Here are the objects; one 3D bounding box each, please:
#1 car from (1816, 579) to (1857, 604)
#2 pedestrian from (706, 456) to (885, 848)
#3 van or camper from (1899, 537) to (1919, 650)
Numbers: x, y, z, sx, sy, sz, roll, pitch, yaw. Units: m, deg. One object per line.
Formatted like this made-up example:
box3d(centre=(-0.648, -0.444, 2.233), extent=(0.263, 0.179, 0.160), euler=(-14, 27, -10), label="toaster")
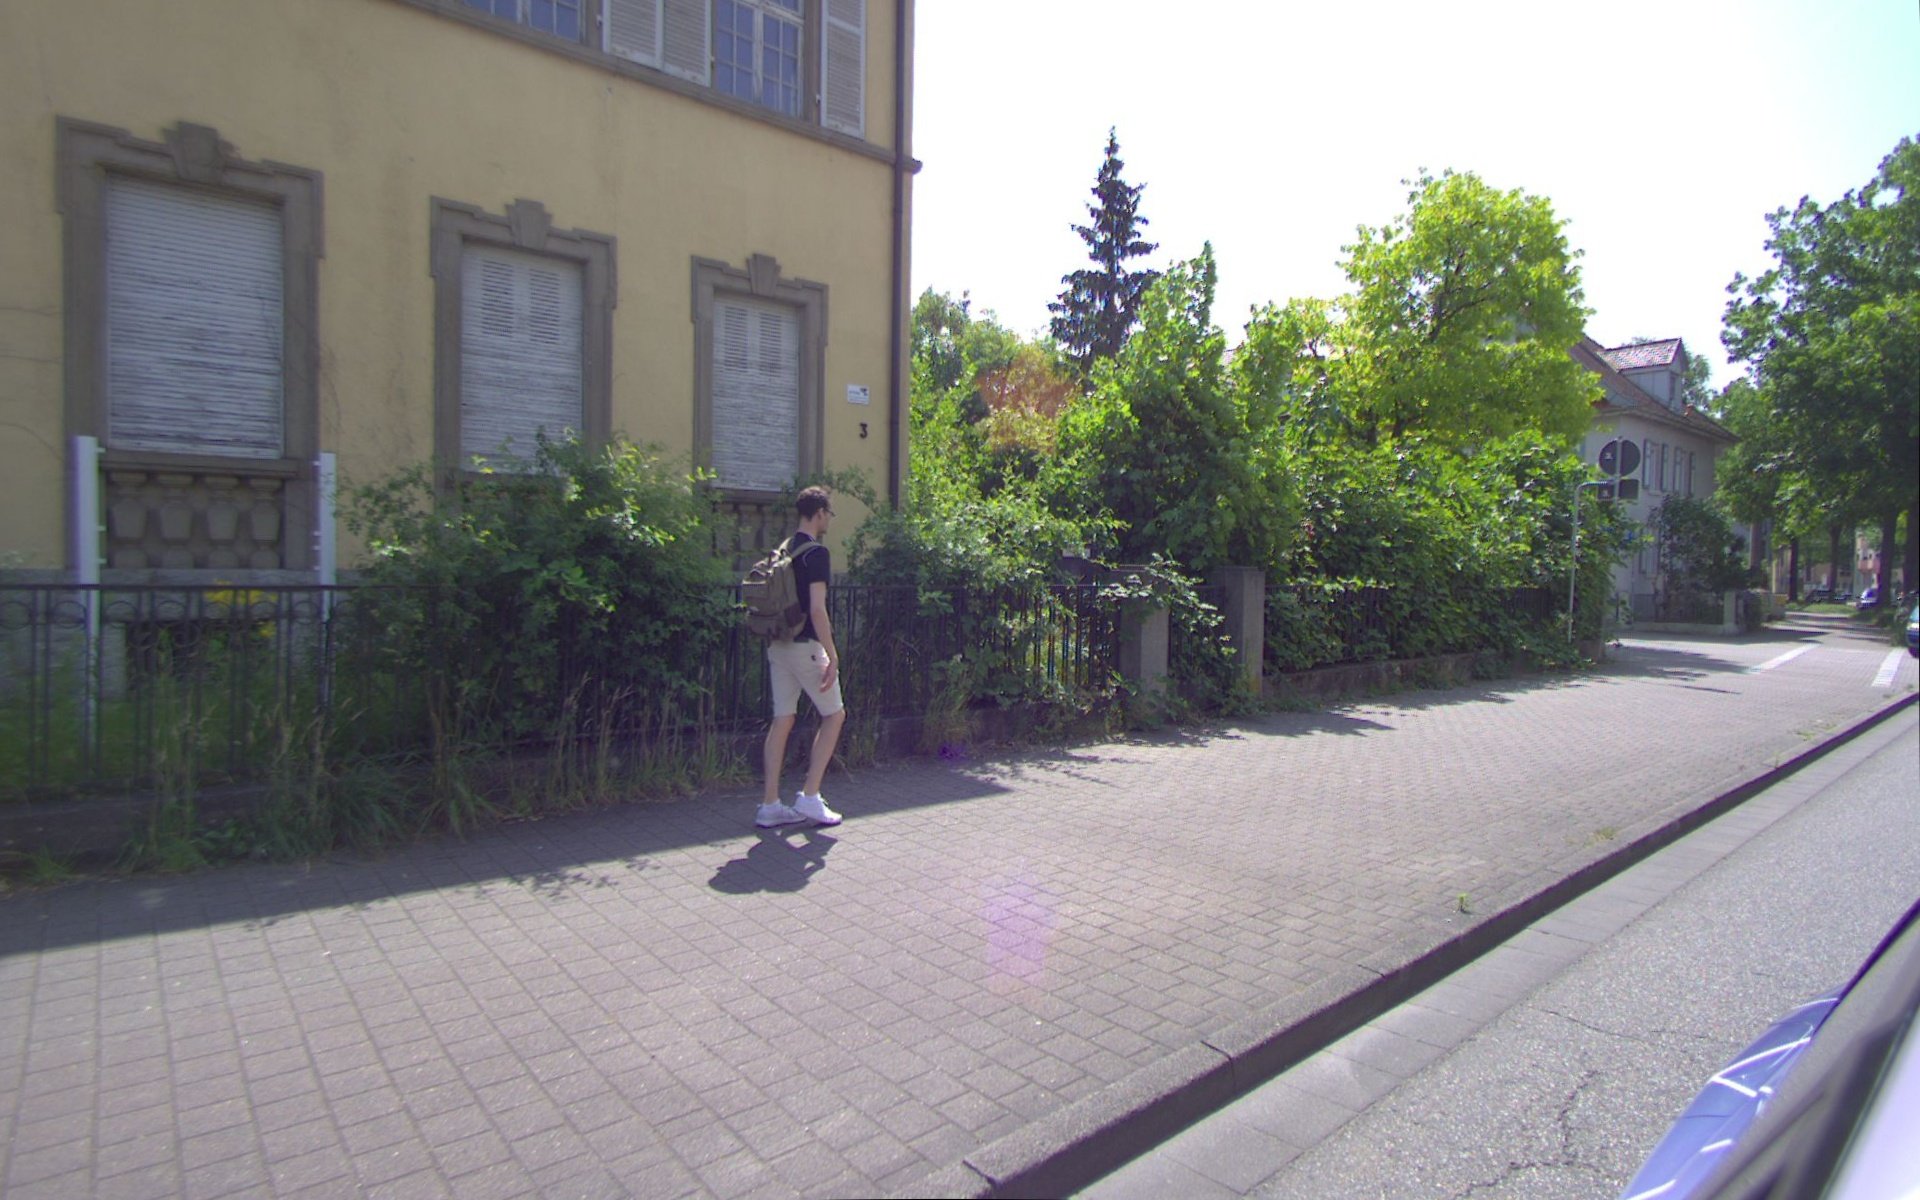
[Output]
box3d(centre=(62.408, -0.639, 72.112), extent=(1.817, 1.705, 3.949), euler=(0, 1, 36), label="car")
box3d(centre=(-0.893, 0.246, 5.482), extent=(0.731, 1.942, 0.620), euler=(-1, 2, -41), label="pedestrian")
box3d(centre=(25.132, -0.113, 23.947), extent=(5.724, 2.613, 2.170), euler=(0, 2, -25), label="van or camper")
